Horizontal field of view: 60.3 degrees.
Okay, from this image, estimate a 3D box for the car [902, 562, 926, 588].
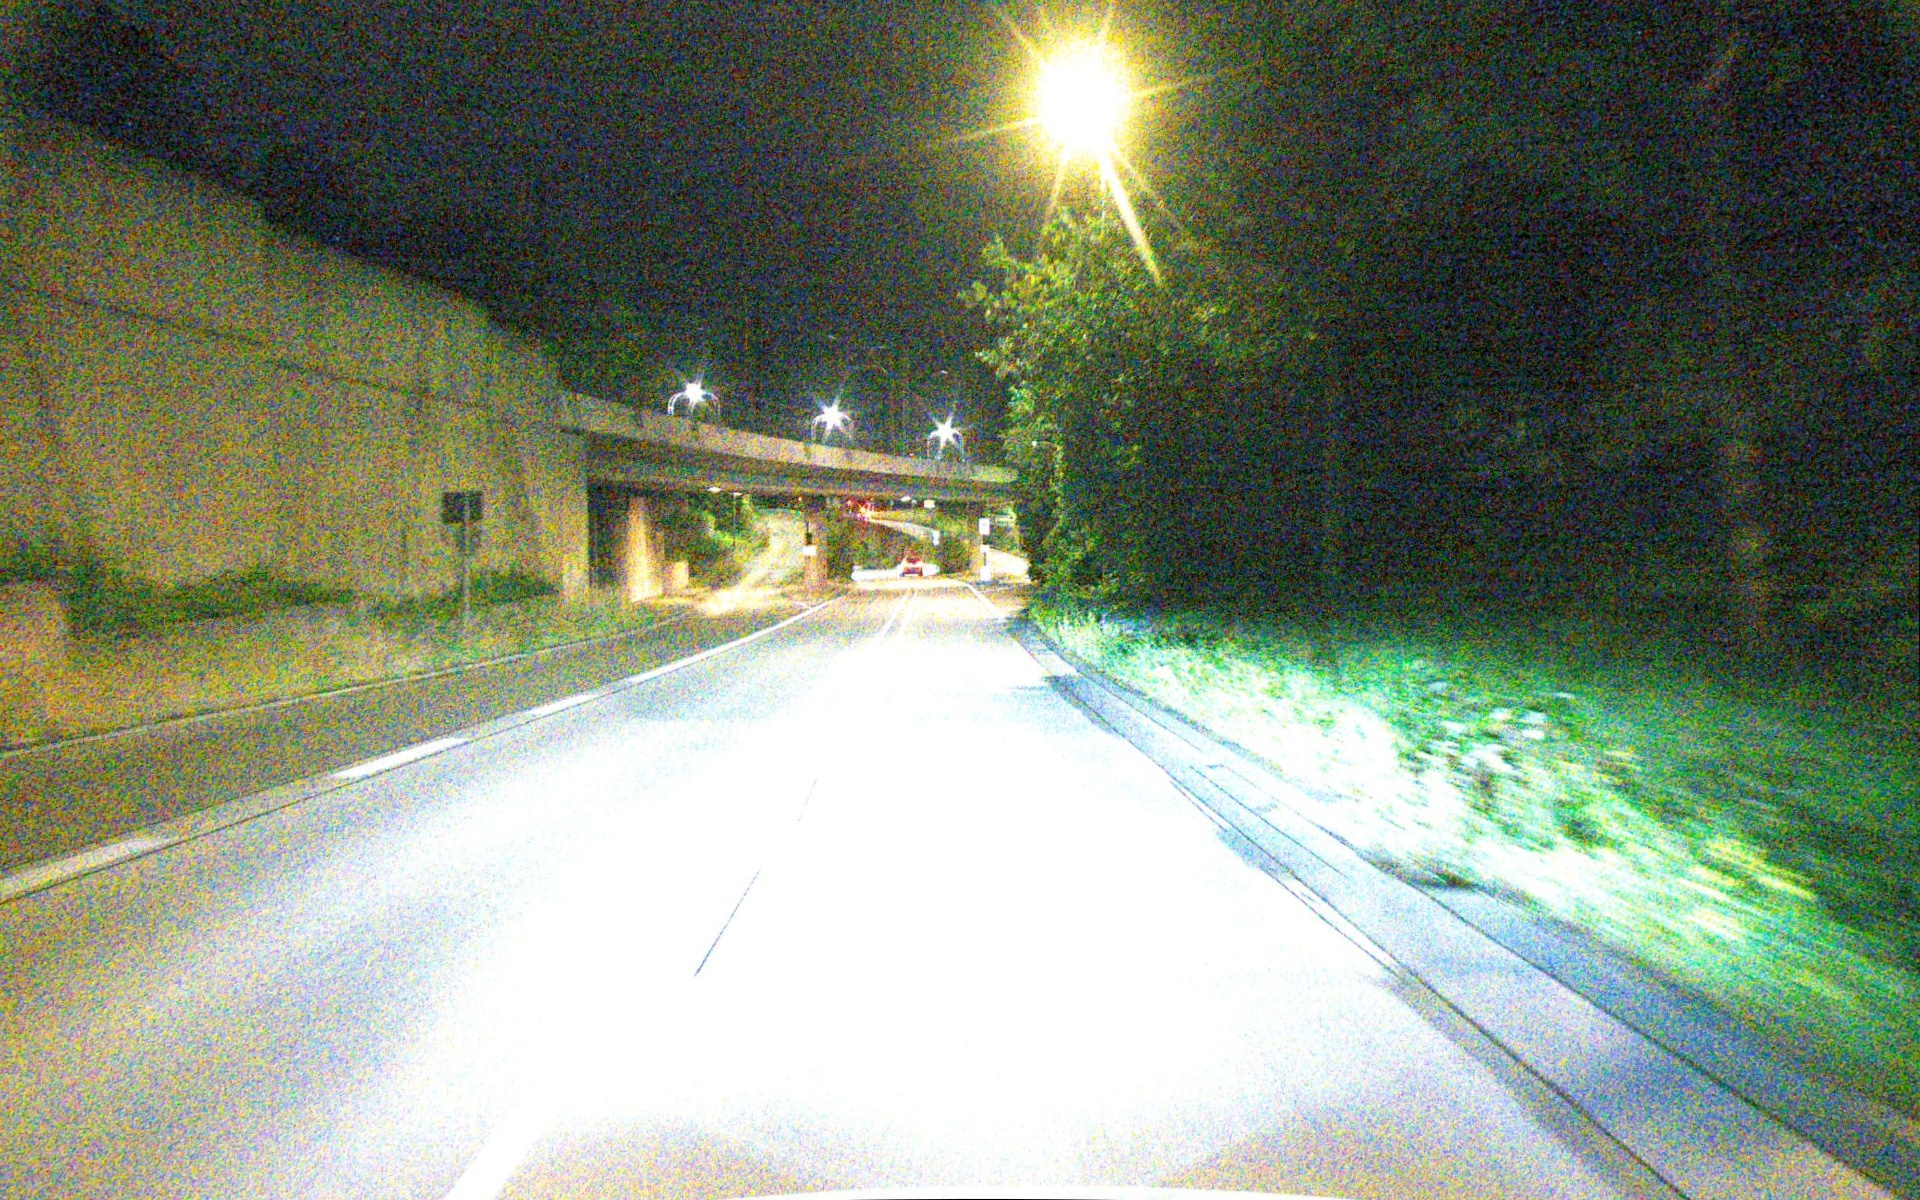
[{"bbox_3d":[-3.866,-2.080,138.917,1.880,2.049,4.121,2,0,-1],"label":"car"}]
